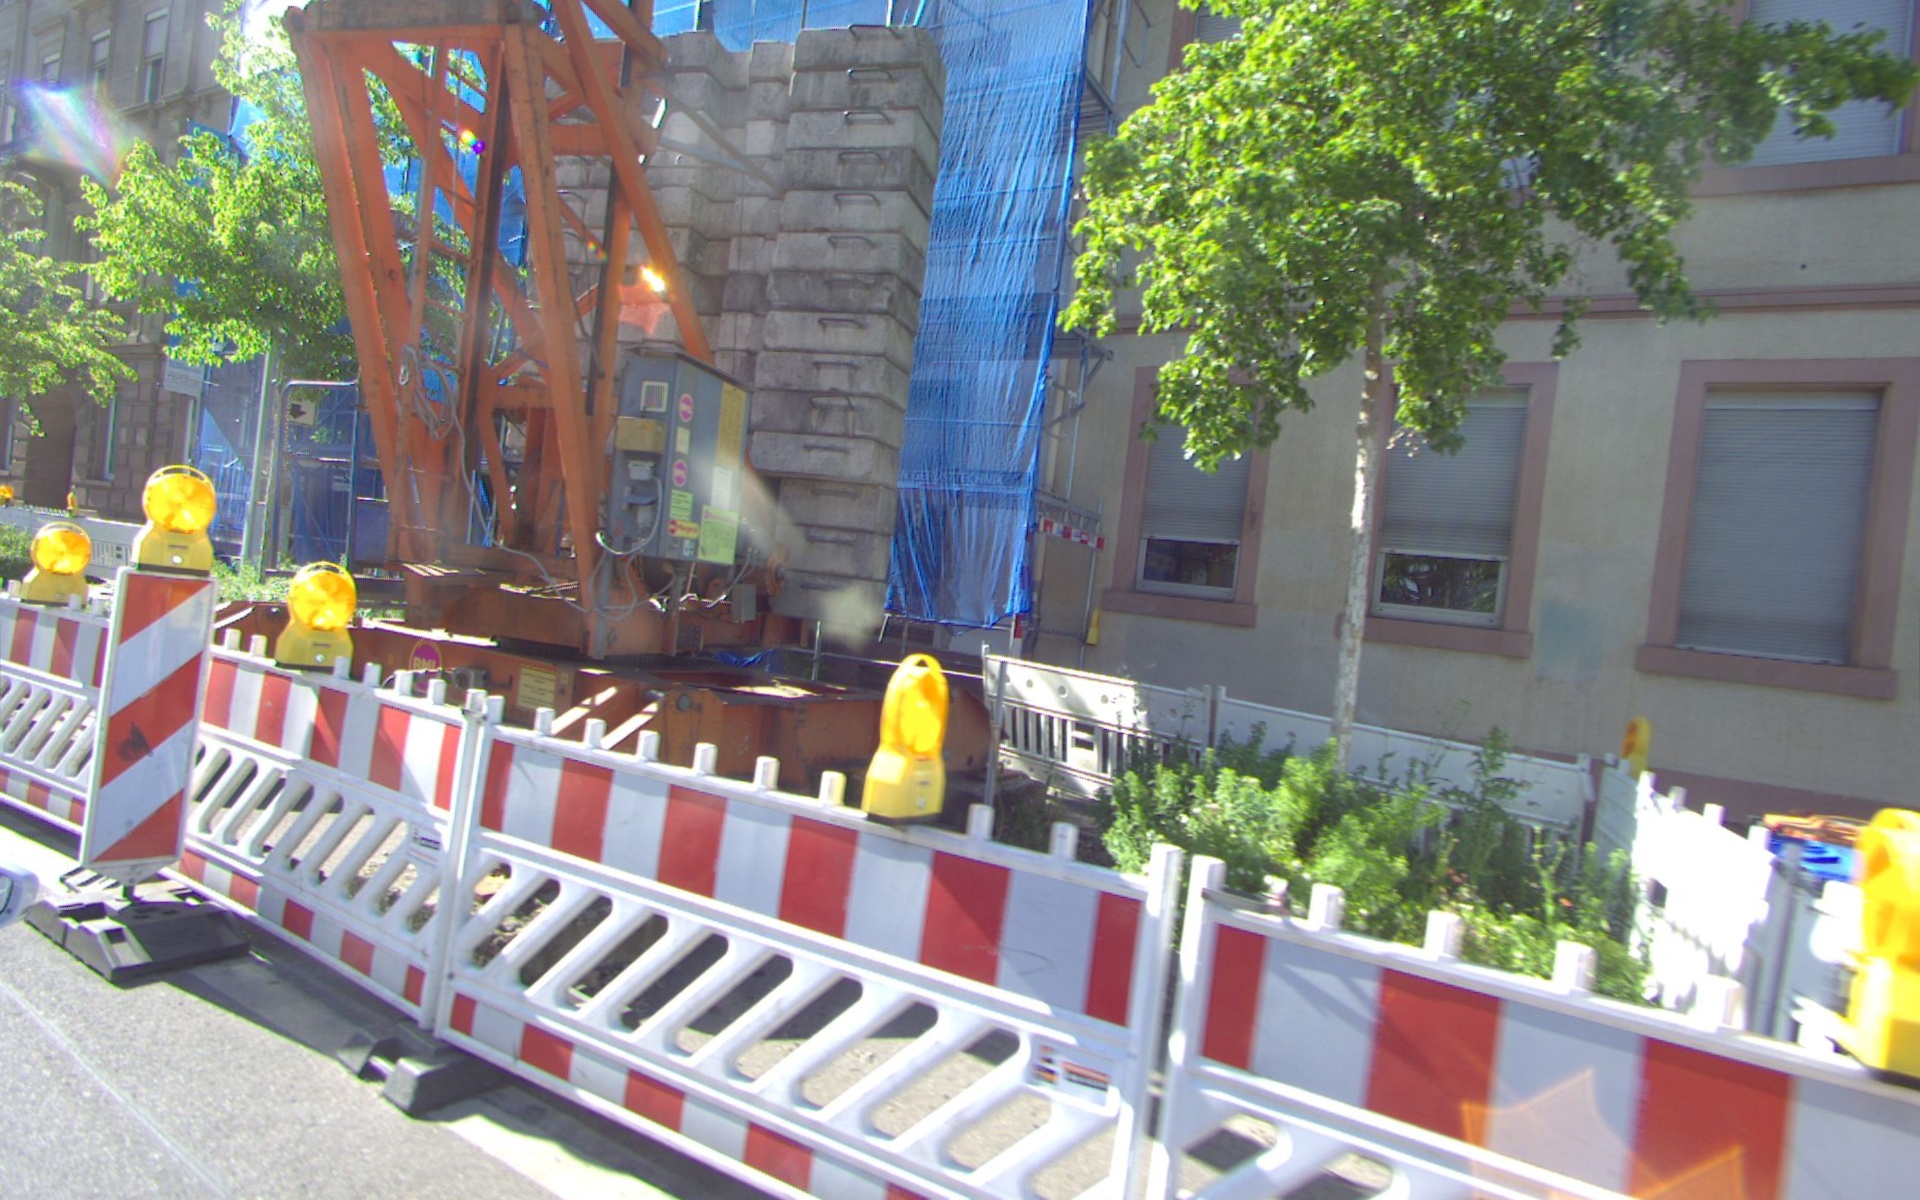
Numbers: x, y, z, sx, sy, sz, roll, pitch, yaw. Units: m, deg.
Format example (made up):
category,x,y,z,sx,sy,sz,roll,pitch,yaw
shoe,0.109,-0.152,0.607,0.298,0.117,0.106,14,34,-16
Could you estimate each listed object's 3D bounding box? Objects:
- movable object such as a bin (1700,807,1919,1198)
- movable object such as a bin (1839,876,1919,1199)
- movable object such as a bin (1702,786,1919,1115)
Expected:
category,x,y,z,sx,sy,sz,roll,pitch,yaw
movable object such as a bin,3.159,1.379,3.539,0.718,1.072,0.595,7,4,31
movable object such as a bin,3.079,1.437,2.822,0.718,1.070,0.589,7,0,31
movable object such as a bin,3.700,1.427,4.184,0.769,1.073,0.588,7,5,26
